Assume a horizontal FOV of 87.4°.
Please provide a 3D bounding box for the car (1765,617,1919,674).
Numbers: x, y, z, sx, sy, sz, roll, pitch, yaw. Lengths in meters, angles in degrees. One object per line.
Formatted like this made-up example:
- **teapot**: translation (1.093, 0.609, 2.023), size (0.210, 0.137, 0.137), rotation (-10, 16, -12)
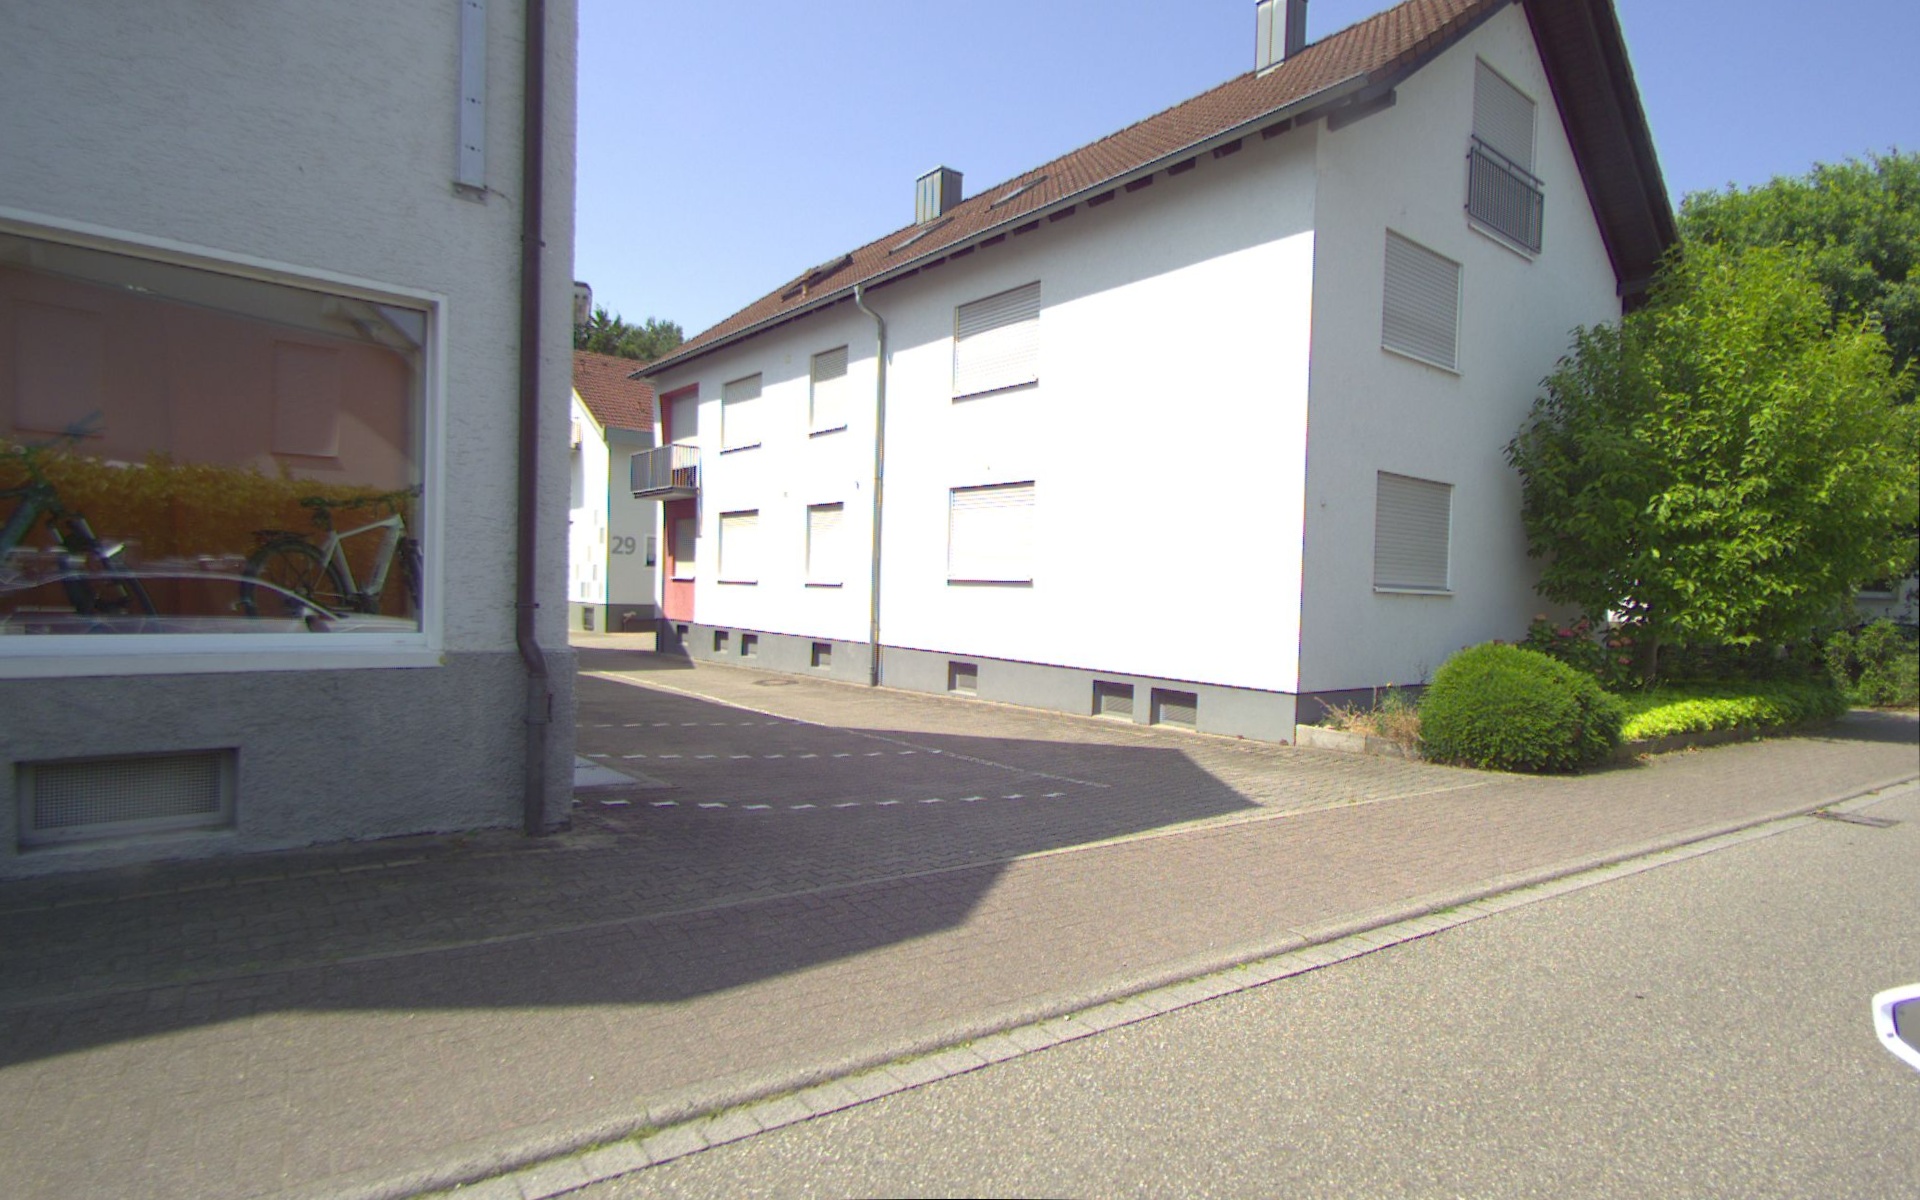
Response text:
- **car**: translation (26.338, 1.296, 29.338), size (1.758, 1.559, 4.129), rotation (1, -1, -38)

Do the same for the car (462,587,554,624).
- **car**: translation (-22.262, 0.263, 49.535), size (3.953, 1.724, 1.984), rotation (1, 0, -30)
